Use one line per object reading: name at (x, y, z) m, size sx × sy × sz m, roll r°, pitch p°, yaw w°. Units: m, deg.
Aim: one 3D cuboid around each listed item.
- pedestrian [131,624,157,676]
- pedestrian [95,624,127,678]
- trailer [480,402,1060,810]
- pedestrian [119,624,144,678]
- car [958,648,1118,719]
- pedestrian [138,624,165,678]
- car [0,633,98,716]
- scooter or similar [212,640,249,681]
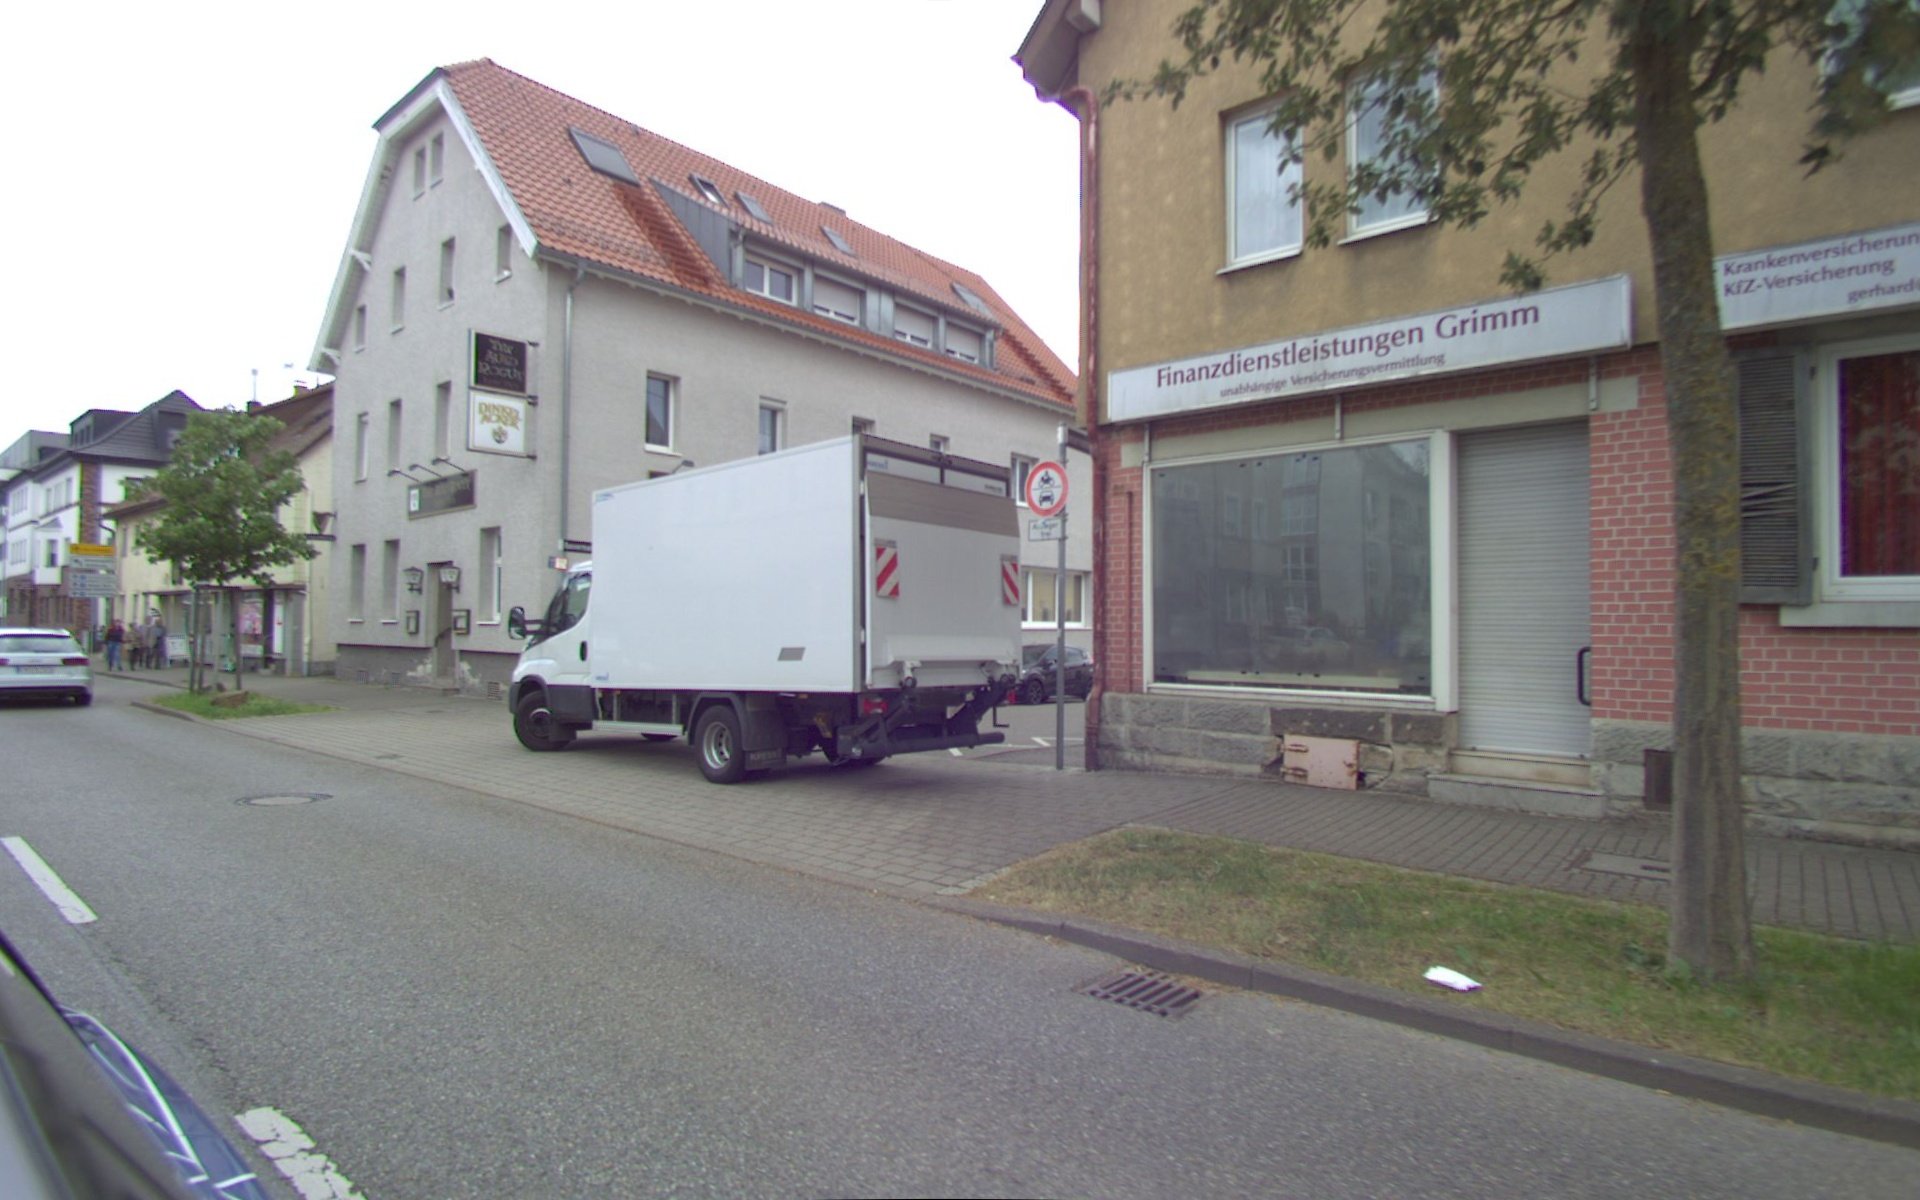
pedestrian at (-27.935, 1.717, 34.650) m, size 0.648 × 1.750 × 0.547 m, roll -2°, pitch -3°, yaw 41°
pedestrian at (-27.965, 1.680, 33.321) m, size 0.717 × 1.750 × 0.670 m, roll -2°, pitch -3°, yaw 41°
trailer at (-2.544, 0.171, 11.318) m, size 7.131 × 3.244 × 2.477 m, roll -3°, pitch -2°, yaw 41°
pedestrian at (-27.150, 1.653, 33.165) m, size 0.648 × 1.750 × 0.491 m, roll -2°, pitch -3°, yaw 41°
car at (1.960, 1.996, 24.694) m, size 1.780 × 1.492 × 3.943 m, roll -5°, pitch -4°, yaw 43°
pedestrian at (-26.907, 1.690, 33.689) m, size 0.648 × 1.750 × 0.547 m, roll -2°, pitch -3°, yaw 41°
car at (-18.313, 1.376, 19.573) m, size 4.541 × 1.444 × 1.823 m, roll -1°, pitch -4°, yaw 41°
scooter or similar at (-22.056, 1.804, 30.584) m, size 1.721 × 1.179 × 0.522 m, roll -1°, pitch -1°, yaw 41°
